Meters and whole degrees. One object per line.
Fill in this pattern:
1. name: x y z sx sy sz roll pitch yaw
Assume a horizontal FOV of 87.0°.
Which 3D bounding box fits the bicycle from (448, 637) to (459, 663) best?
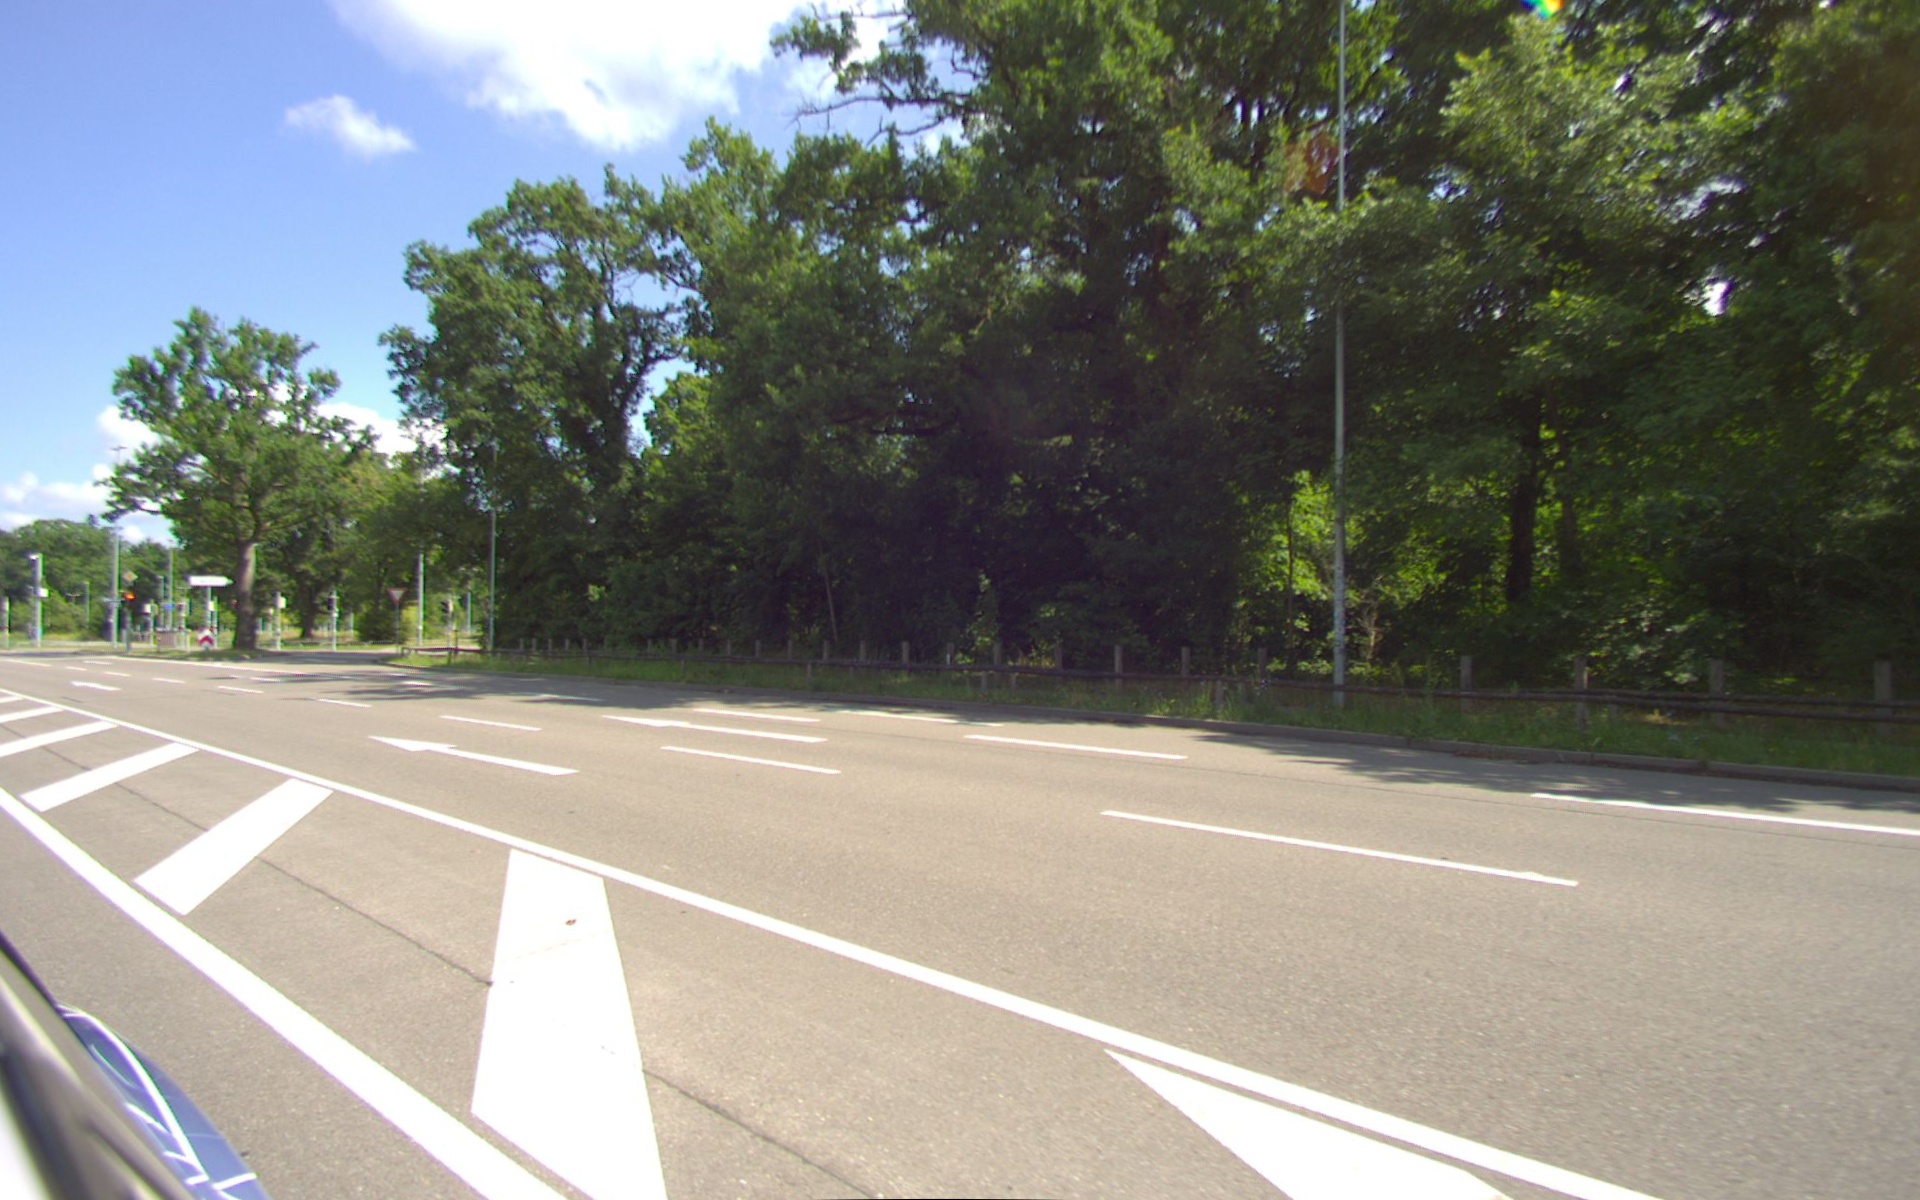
1. bicycle: -24.197 2.380 48.353 0.414 1.182 1.233 0 -1 -30
